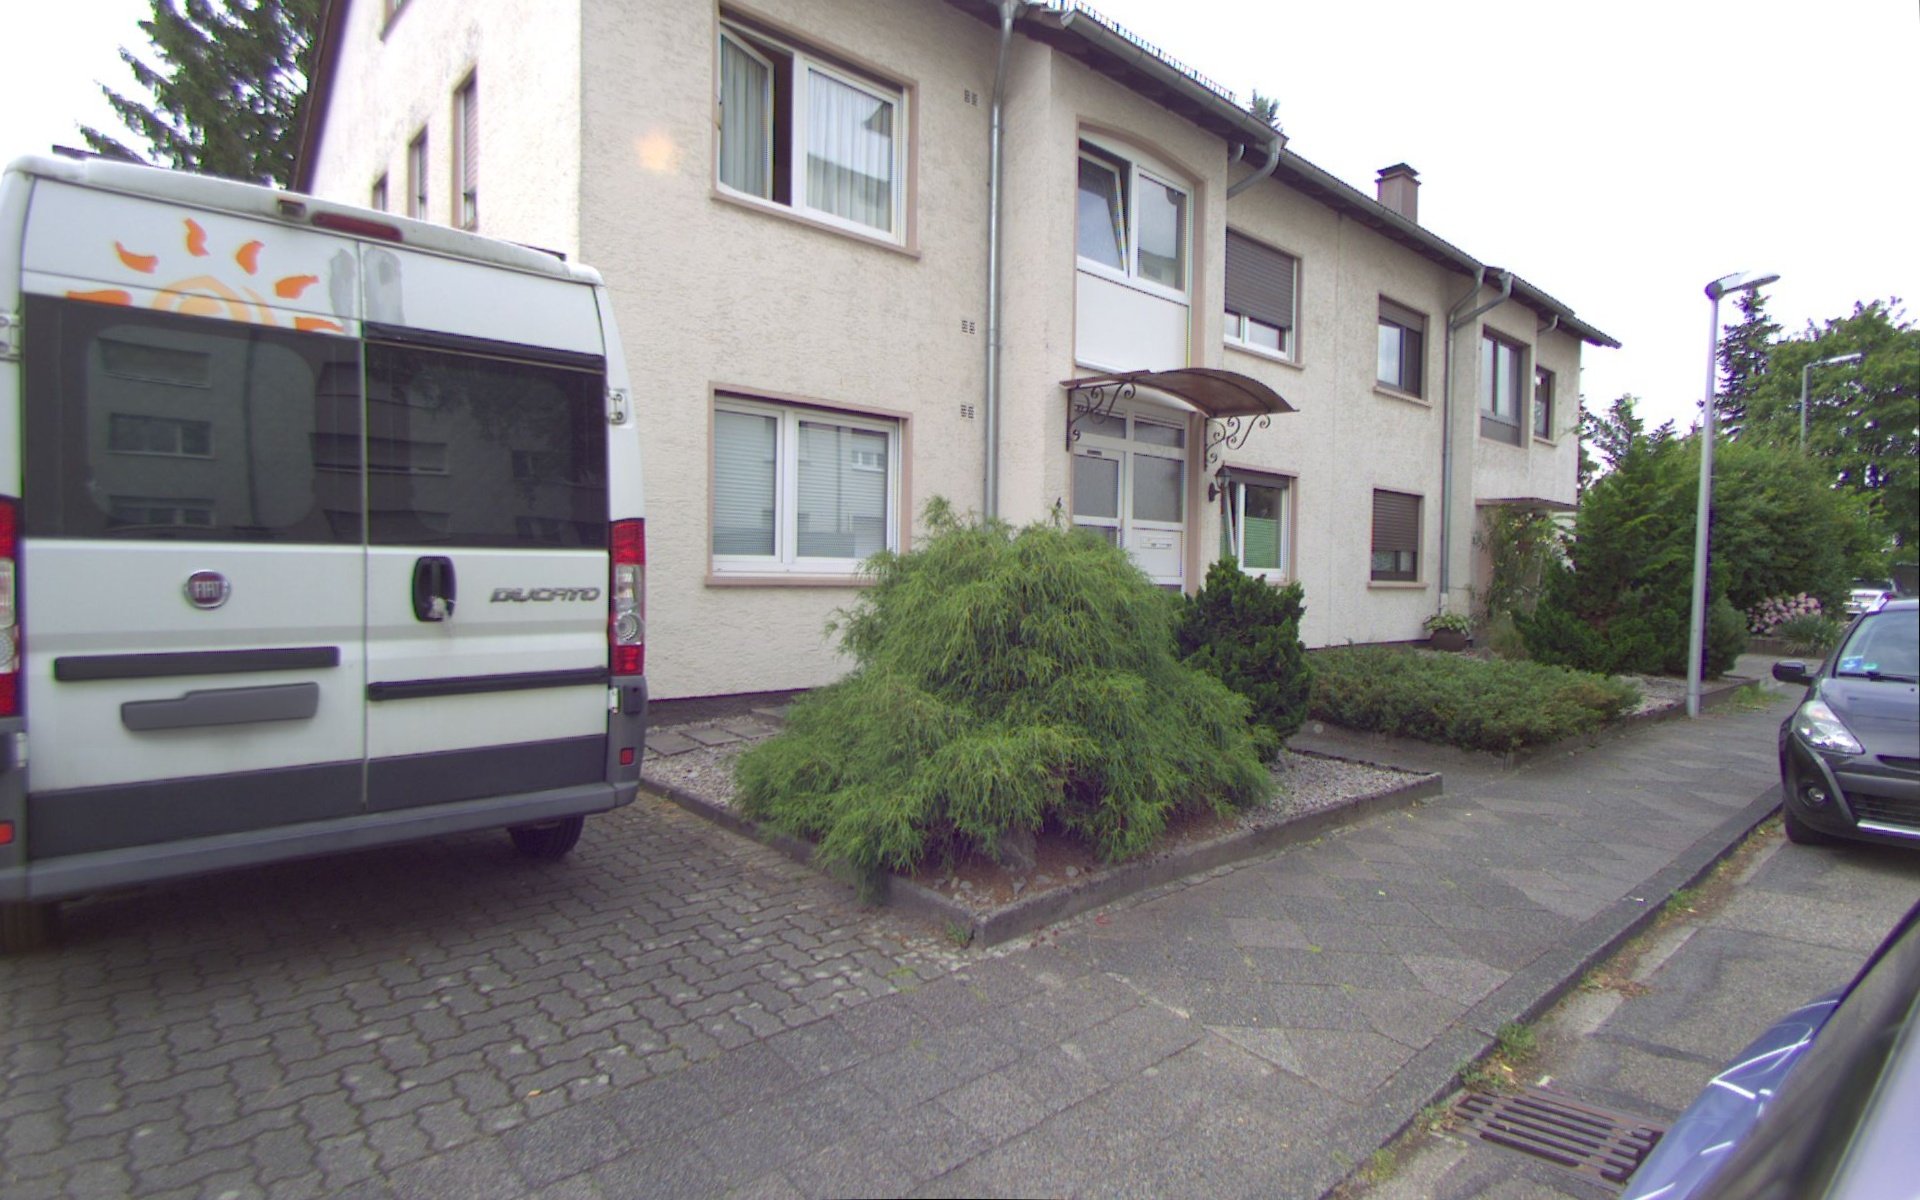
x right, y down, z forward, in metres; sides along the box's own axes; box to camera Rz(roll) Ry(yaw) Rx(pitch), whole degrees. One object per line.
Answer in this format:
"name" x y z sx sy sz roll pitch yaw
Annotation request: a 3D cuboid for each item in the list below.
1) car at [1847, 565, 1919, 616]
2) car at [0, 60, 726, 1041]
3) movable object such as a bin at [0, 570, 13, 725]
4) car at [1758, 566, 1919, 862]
"car" 30.413 -0.367 33.198 3.936 1.484 1.702 -3 4 -45
"car" -3.450 -0.260 5.241 2.199 2.573 5.098 0 3 -41
"movable object such as a bin" -7.044 0.331 7.128 0.537 1.069 0.456 -1 4 -43
"car" 6.433 0.551 6.275 4.122 1.476 1.831 -1 1 -44
